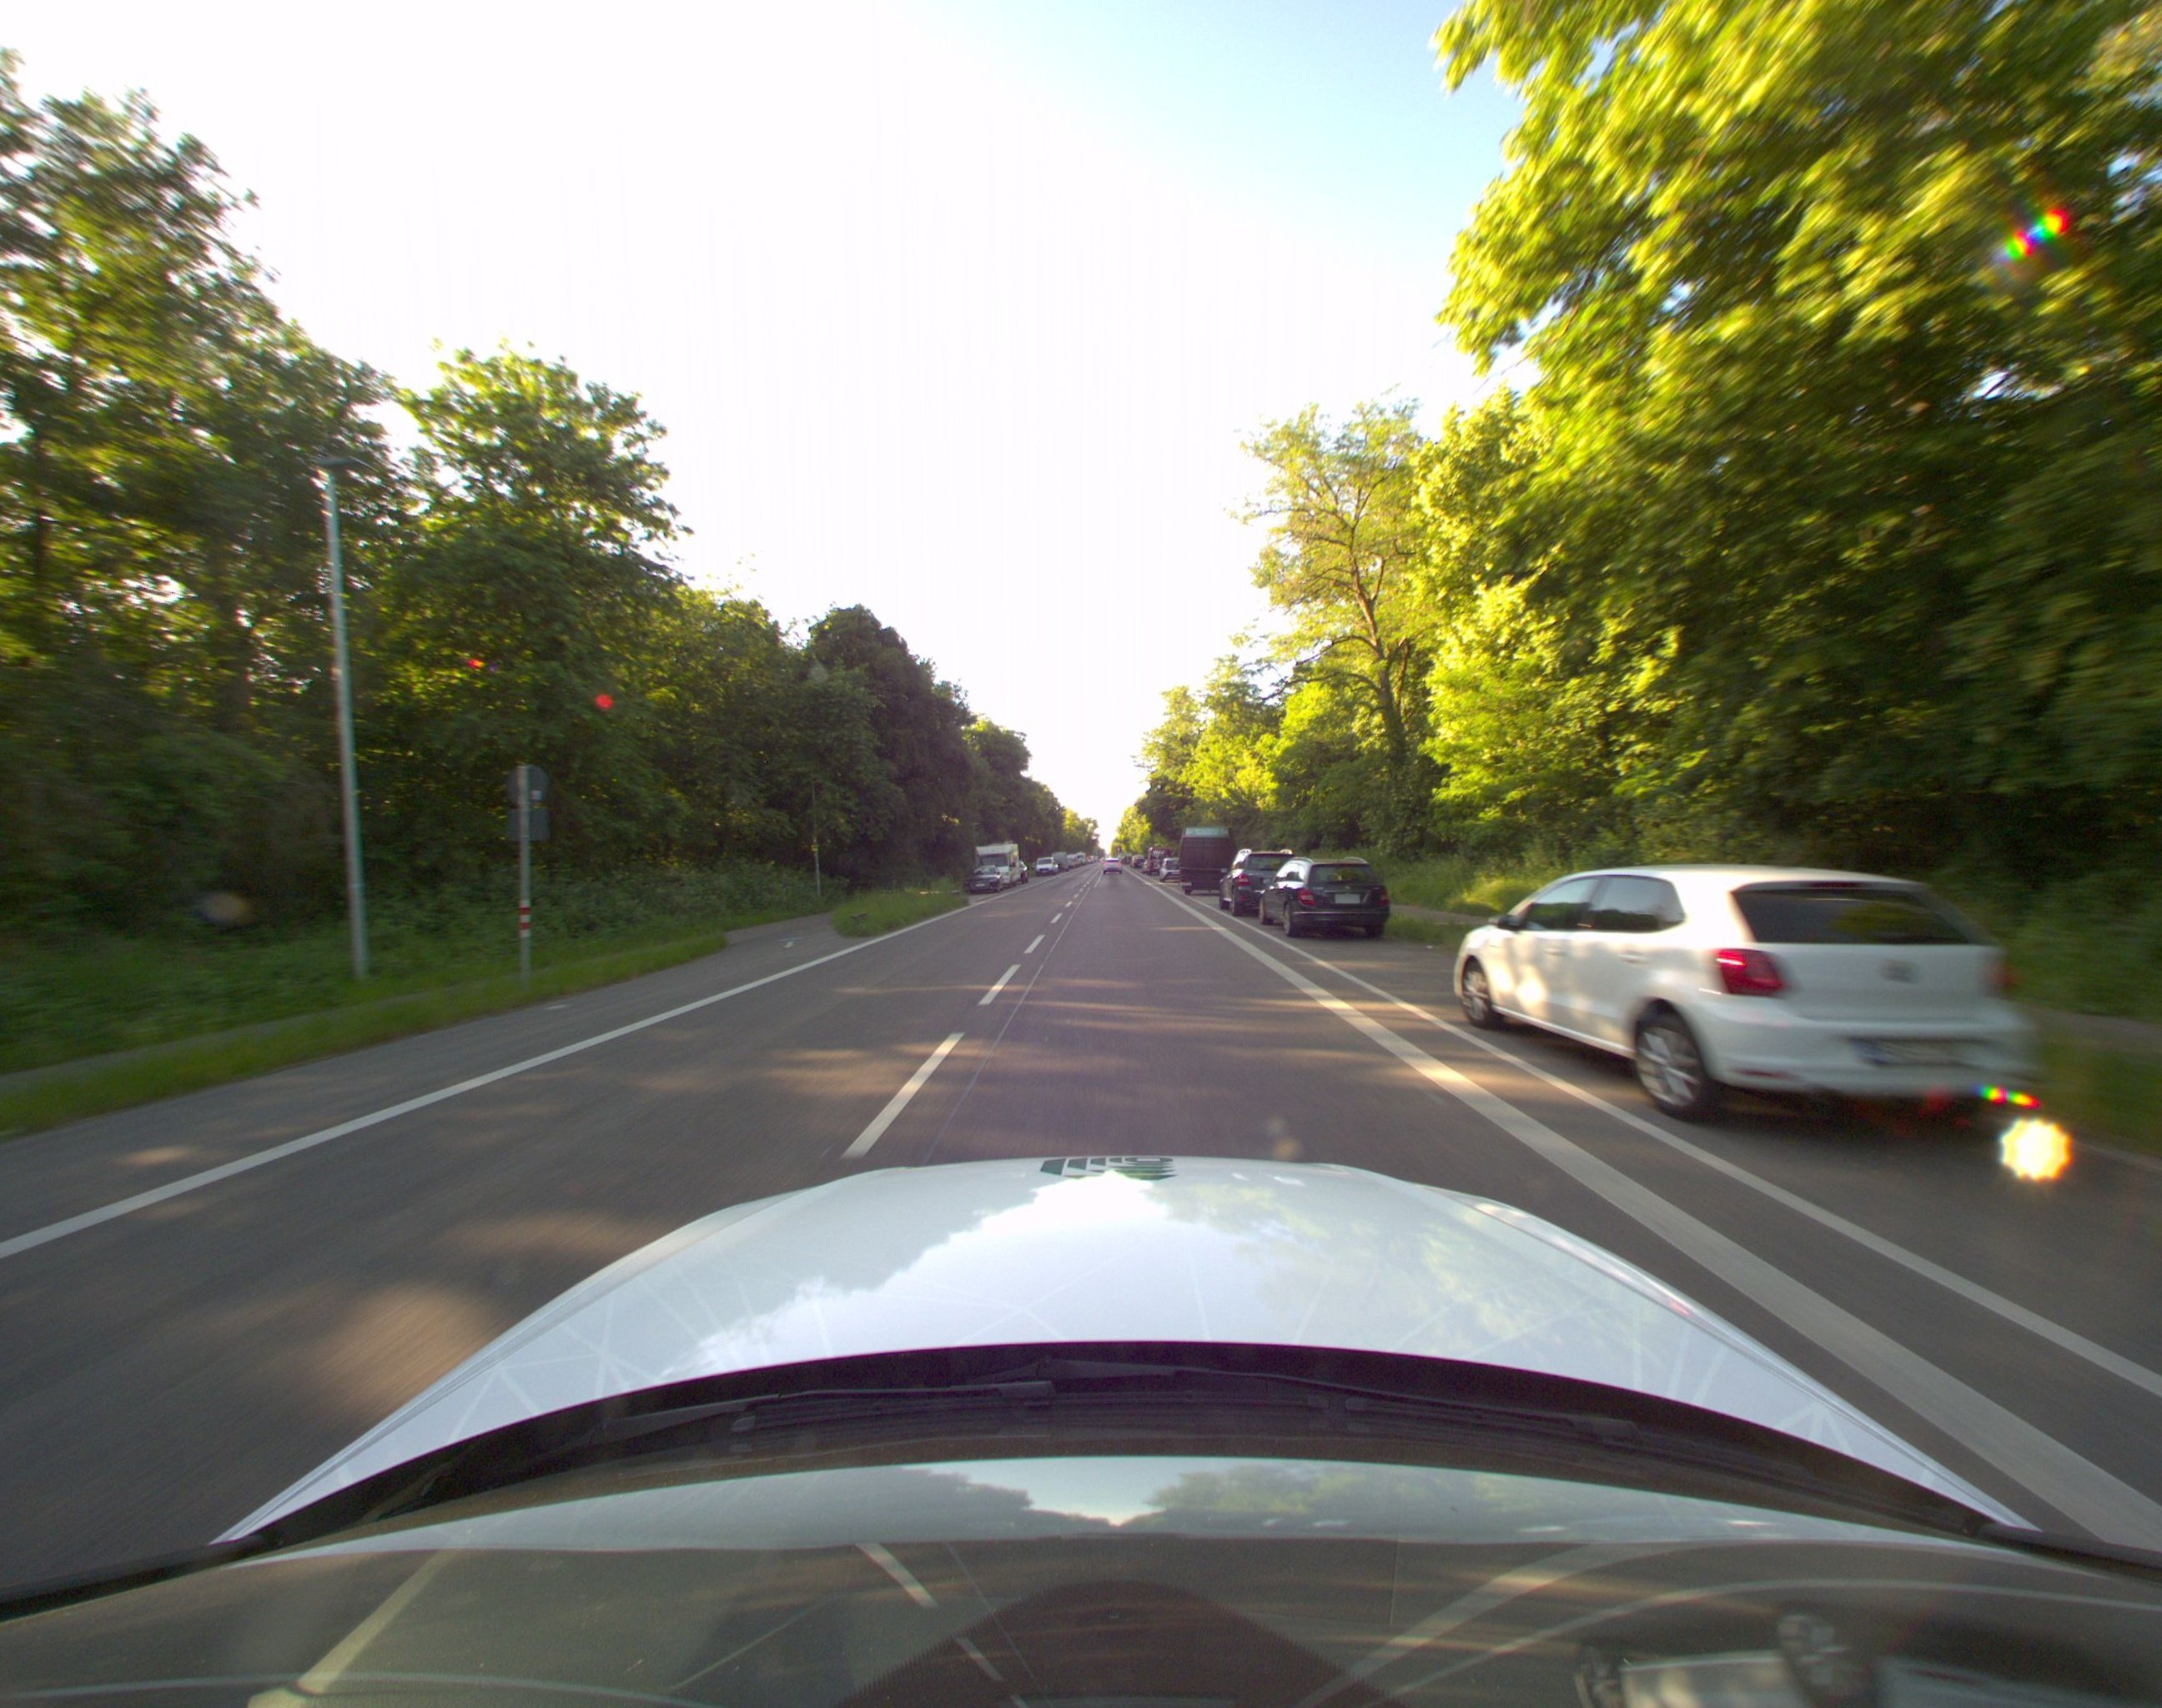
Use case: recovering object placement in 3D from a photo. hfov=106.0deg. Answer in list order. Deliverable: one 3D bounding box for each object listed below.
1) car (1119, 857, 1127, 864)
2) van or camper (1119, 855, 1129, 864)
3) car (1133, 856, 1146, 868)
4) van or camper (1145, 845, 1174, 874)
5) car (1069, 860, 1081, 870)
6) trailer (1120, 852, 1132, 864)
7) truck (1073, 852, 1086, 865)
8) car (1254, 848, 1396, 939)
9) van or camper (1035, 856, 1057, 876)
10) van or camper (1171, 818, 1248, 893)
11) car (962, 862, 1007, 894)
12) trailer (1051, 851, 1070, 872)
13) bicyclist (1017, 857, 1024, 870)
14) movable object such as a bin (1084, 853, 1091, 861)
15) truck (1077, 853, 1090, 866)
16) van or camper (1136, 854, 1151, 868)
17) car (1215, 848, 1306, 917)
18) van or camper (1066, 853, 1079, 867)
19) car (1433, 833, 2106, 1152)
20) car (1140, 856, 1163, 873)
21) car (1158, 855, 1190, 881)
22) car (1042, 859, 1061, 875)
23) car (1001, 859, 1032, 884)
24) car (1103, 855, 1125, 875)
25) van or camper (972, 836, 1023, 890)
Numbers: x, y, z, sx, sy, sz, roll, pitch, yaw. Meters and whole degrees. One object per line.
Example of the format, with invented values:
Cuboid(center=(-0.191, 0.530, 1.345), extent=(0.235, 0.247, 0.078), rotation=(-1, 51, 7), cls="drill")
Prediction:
Cuboid(center=(9.917, 1.549, 194.145), extent=(1.834, 1.662, 4.003), rotation=(-2, 0, 3), cls="car")
Cuboid(center=(9.064, 1.184, 171.168), extent=(1.986, 1.932, 5.201), rotation=(-1, 0, 2), cls="van or camper")
Cuboid(center=(7.982, 1.100, 111.225), extent=(1.683, 1.524, 4.151), rotation=(-1, 0, 2), cls="car")
Cuboid(center=(6.785, 0.470, 70.946), extent=(2.028, 2.312, 6.042), rotation=(-3, 0, 1), cls="van or camper")
Cuboid(center=(-0.954, 1.803, 134.541), extent=(1.725, 1.478, 4.326), rotation=(-4, 0, 2), cls="car")
Cuboid(center=(11.925, 1.033, 215.956), extent=(2.747, 2.870, 6.591), rotation=(-2, 0, 2), cls="trailer")
Cuboid(center=(-0.302, 1.182, 211.761), extent=(2.697, 3.347, 10.929), rotation=(-2, 0, 2), cls="truck")
Cuboid(center=(4.696, 0.679, 16.342), extent=(1.705, 1.568, 4.555), rotation=(0, 0, 3), cls="car")
Cuboid(center=(-3.640, 1.234, 84.563), extent=(1.829, 1.911, 4.857), rotation=(-3, 0, 1), cls="van or camper")
Cuboid(center=(5.599, 0.037, 34.661), extent=(2.423, 2.799, 6.583), rotation=(-2, 0, 15), cls="van or camper")
Cuboid(center=(-5.047, 1.222, 43.160), extent=(1.822, 1.476, 4.678), rotation=(-3, 0, -1), cls="car")
Cuboid(center=(-2.665, 0.940, 107.488), extent=(1.986, 2.597, 4.418), rotation=(-4, 0, 2), cls="trailer")
Cuboid(center=(-6.497, 1.050, 87.855), extent=(0.602, 1.374, 0.799), rotation=(-2, -1, 2), cls="bicyclist")
Cuboid(center=(2.099, 0.982, 259.645), extent=(2.313, 2.502, 4.002), rotation=(-2, 0, 2), cls="movable object such as a bin")
Cuboid(center=(0.605, 1.292, 200.219), extent=(2.697, 3.093, 7.993), rotation=(-2, 0, 2), cls="truck")
Cuboid(center=(9.075, 1.000, 117.725), extent=(1.944, 1.815, 4.383), rotation=(-2, 0, 2), cls="van or camper")
Cuboid(center=(4.723, 0.688, 22.002), extent=(1.705, 1.665, 4.555), rotation=(0, 0, 3), cls="car")
Cuboid(center=(-1.597, 1.148, 153.102), extent=(2.112, 2.572, 6.545), rotation=(-3, 0, 2), cls="van or camper")
Cuboid(center=(4.261, 0.683, 6.028), extent=(1.705, 1.568, 4.002), rotation=(0, 0, 2), cls="car")
Cuboid(center=(6.690, 1.000, 77.780), extent=(1.741, 1.515, 3.999), rotation=(-3, 0, 0), cls="car")
Cuboid(center=(5.682, 0.808, 49.922), extent=(1.705, 1.545, 4.025), rotation=(0, 0, 3), cls="car")
Cuboid(center=(-3.299, 1.440, 91.300), extent=(1.768, 1.540, 4.526), rotation=(-4, 0, 2), cls="car")
Cuboid(center=(-4.648, 1.246, 58.910), extent=(1.639, 1.632, 4.275), rotation=(-4, 0, 2), cls="car")
Cuboid(center=(3.171, 1.032, 79.078), extent=(2.021, 1.840, 4.031), rotation=(-2, 0, 2), cls="car")
Cuboid(center=(-5.055, 0.532, 50.428), extent=(2.307, 2.970, 7.109), rotation=(-4, 0, 0), cls="van or camper")
